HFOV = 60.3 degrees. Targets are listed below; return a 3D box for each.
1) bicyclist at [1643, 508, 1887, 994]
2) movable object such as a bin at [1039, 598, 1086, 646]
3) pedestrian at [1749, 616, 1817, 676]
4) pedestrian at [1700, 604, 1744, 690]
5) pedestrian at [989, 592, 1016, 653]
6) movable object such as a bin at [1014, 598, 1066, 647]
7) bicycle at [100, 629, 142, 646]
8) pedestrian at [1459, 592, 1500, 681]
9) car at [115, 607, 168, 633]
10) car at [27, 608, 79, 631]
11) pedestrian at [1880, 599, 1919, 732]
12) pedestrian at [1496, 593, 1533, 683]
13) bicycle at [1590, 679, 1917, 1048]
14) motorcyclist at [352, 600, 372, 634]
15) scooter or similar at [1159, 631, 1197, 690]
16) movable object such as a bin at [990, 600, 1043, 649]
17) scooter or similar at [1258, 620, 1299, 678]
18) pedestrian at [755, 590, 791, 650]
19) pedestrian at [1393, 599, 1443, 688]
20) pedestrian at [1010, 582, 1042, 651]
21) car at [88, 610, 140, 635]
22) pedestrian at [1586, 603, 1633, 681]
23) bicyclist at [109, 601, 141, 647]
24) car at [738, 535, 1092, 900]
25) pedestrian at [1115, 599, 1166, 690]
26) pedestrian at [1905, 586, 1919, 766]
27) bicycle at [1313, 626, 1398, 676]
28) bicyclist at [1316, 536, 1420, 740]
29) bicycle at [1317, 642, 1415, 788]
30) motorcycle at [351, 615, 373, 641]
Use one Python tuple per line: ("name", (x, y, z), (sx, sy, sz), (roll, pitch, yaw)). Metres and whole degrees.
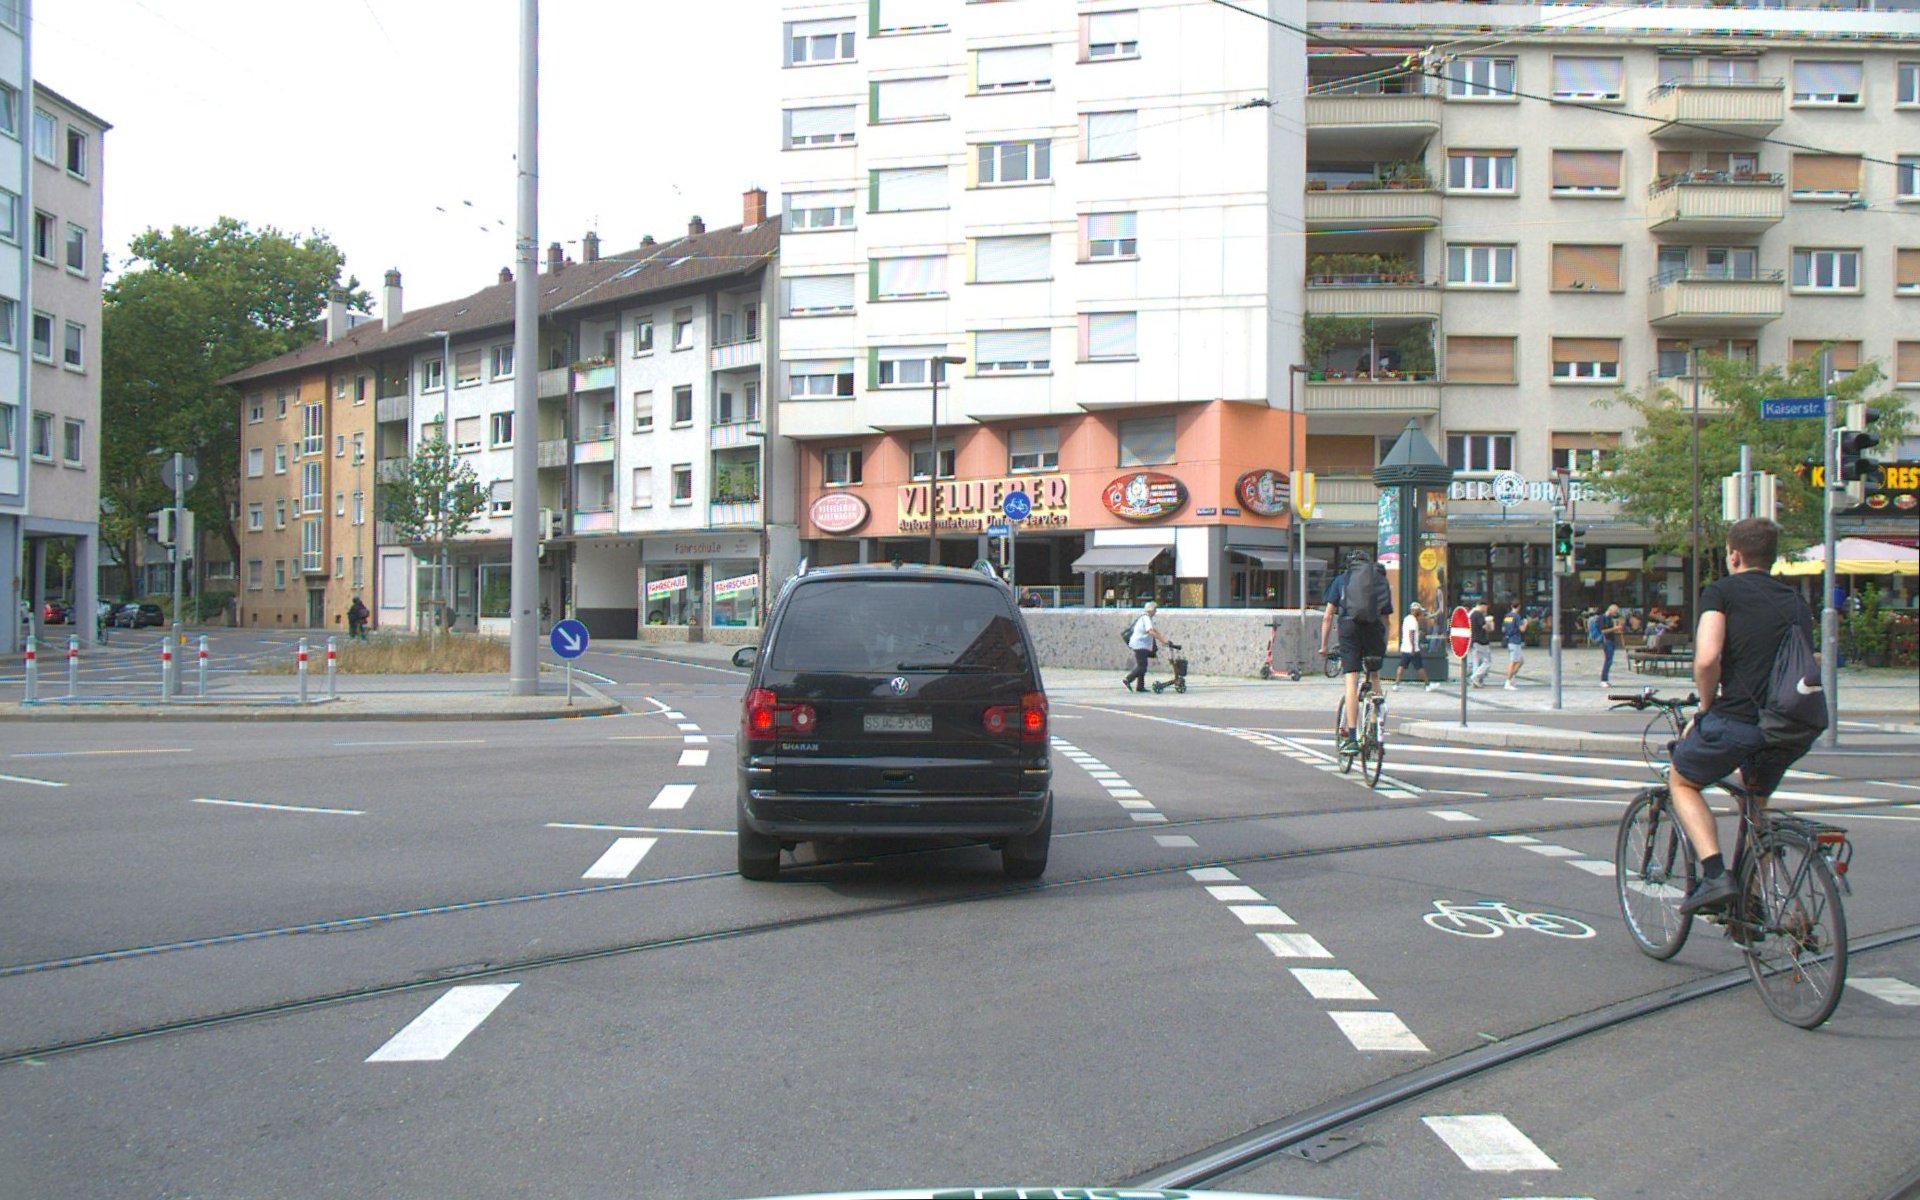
("bicyclist", (3.066, 0.540, 6.370), (0.547, 1.739, 0.863), (0, -1, 3))
("movable object such as a bin", (3.317, 0.711, 53.601), (1.147, 1.542, 0.999), (0, -1, 43))
("pedestrian", (18.177, 1.010, 36.556), (1.010, 1.267, 0.935), (2, -1, 1))
("pedestrian", (14.930, 0.920, 32.415), (0.662, 1.670, 0.439), (0, -1, -1))
("pedestrian", (1.213, 0.628, 47.157), (0.470, 1.702, 0.580), (-3, 2, -45))
("movable object such as a bin", (2.562, 0.719, 52.734), (1.176, 1.542, 1.190), (0, -1, 43))
("bicycle", (-31.064, 1.389, 61.252), (0.473, 0.598, 1.998), (0, 0, 2))
("pedestrian", (10.389, 0.726, 33.094), (0.685, 1.767, 0.414), (0, -1, -1))
("car", (-47.914, 1.152, 96.793), (3.800, 1.447, 1.652), (1, 0, 44))
("car", (-58.795, 1.274, 107.191), (4.384, 1.418, 1.670), (-1, -2, 44))
("pedestrian", (11.259, 0.756, 19.198), (0.542, 1.527, 0.843), (0, -2, -17))
("pedestrian", (10.942, 0.742, 32.648), (0.581, 1.767, 0.414), (0, -1, -1))
("bicycle", (3.072, 0.940, 6.613), (0.397, 1.141, 2.017), (0, 0, 2))
("motorcyclist", (-23.529, 0.666, 65.053), (0.521, 1.335, 0.666), (1, -1, -44))
("scooter or similar", (4.275, 1.182, 32.440), (0.685, 1.130, 0.609), (-1, 0, 11))
("movable object such as a bin", (1.766, 0.759, 51.818), (1.203, 1.486, 1.141), (0, -1, 43))
("scooter or similar", (6.824, 1.041, 35.420), (0.282, 1.234, 1.117), (1, -1, -24))
("pedestrian", (-6.006, 0.653, 53.134), (0.653, 1.884, 0.956), (-3, 1, -42))
("pedestrian", (8.847, 0.831, 31.978), (0.787, 1.710, 0.627), (0, -1, 0))
("pedestrian", (1.895, 0.474, 47.678), (0.580, 1.936, 0.669), (0, 2, 45))
("car", (-51.306, 1.341, 100.308), (3.879, 1.447, 1.652), (1, 0, 44))
("pedestrian", (13.457, 0.860, 34.268), (0.802, 1.604, 0.415), (0, -1, 0))
("bicyclist", (-30.984, 0.894, 61.390), (0.595, 1.675, 1.038), (0, -1, 2))
("car", (-0.437, 0.589, 10.138), (1.778, 1.797, 3.732), (0, 0, -7))
("pedestrian", (3.566, 0.866, 32.596), (0.915, 1.770, 0.686), (-1, 0, 13))
("pedestrian", (9.370, 0.722, 15.548), (0.459, 1.715, 0.795), (0, -1, -6))
("bicycle", (8.674, 1.095, 36.214), (2.428, 1.031, 0.536), (0, -1, -43))
("bicyclist", (3.571, 0.325, 14.527), (0.683, 1.739, 0.907), (0, -1, -1))
("bicycle", (3.558, 0.971, 14.611), (0.382, 1.141, 1.920), (0, 0, 0))
("motorcycle", (-23.500, 1.099, 65.004), (0.336, 1.025, 1.245), (1, -1, -44))
